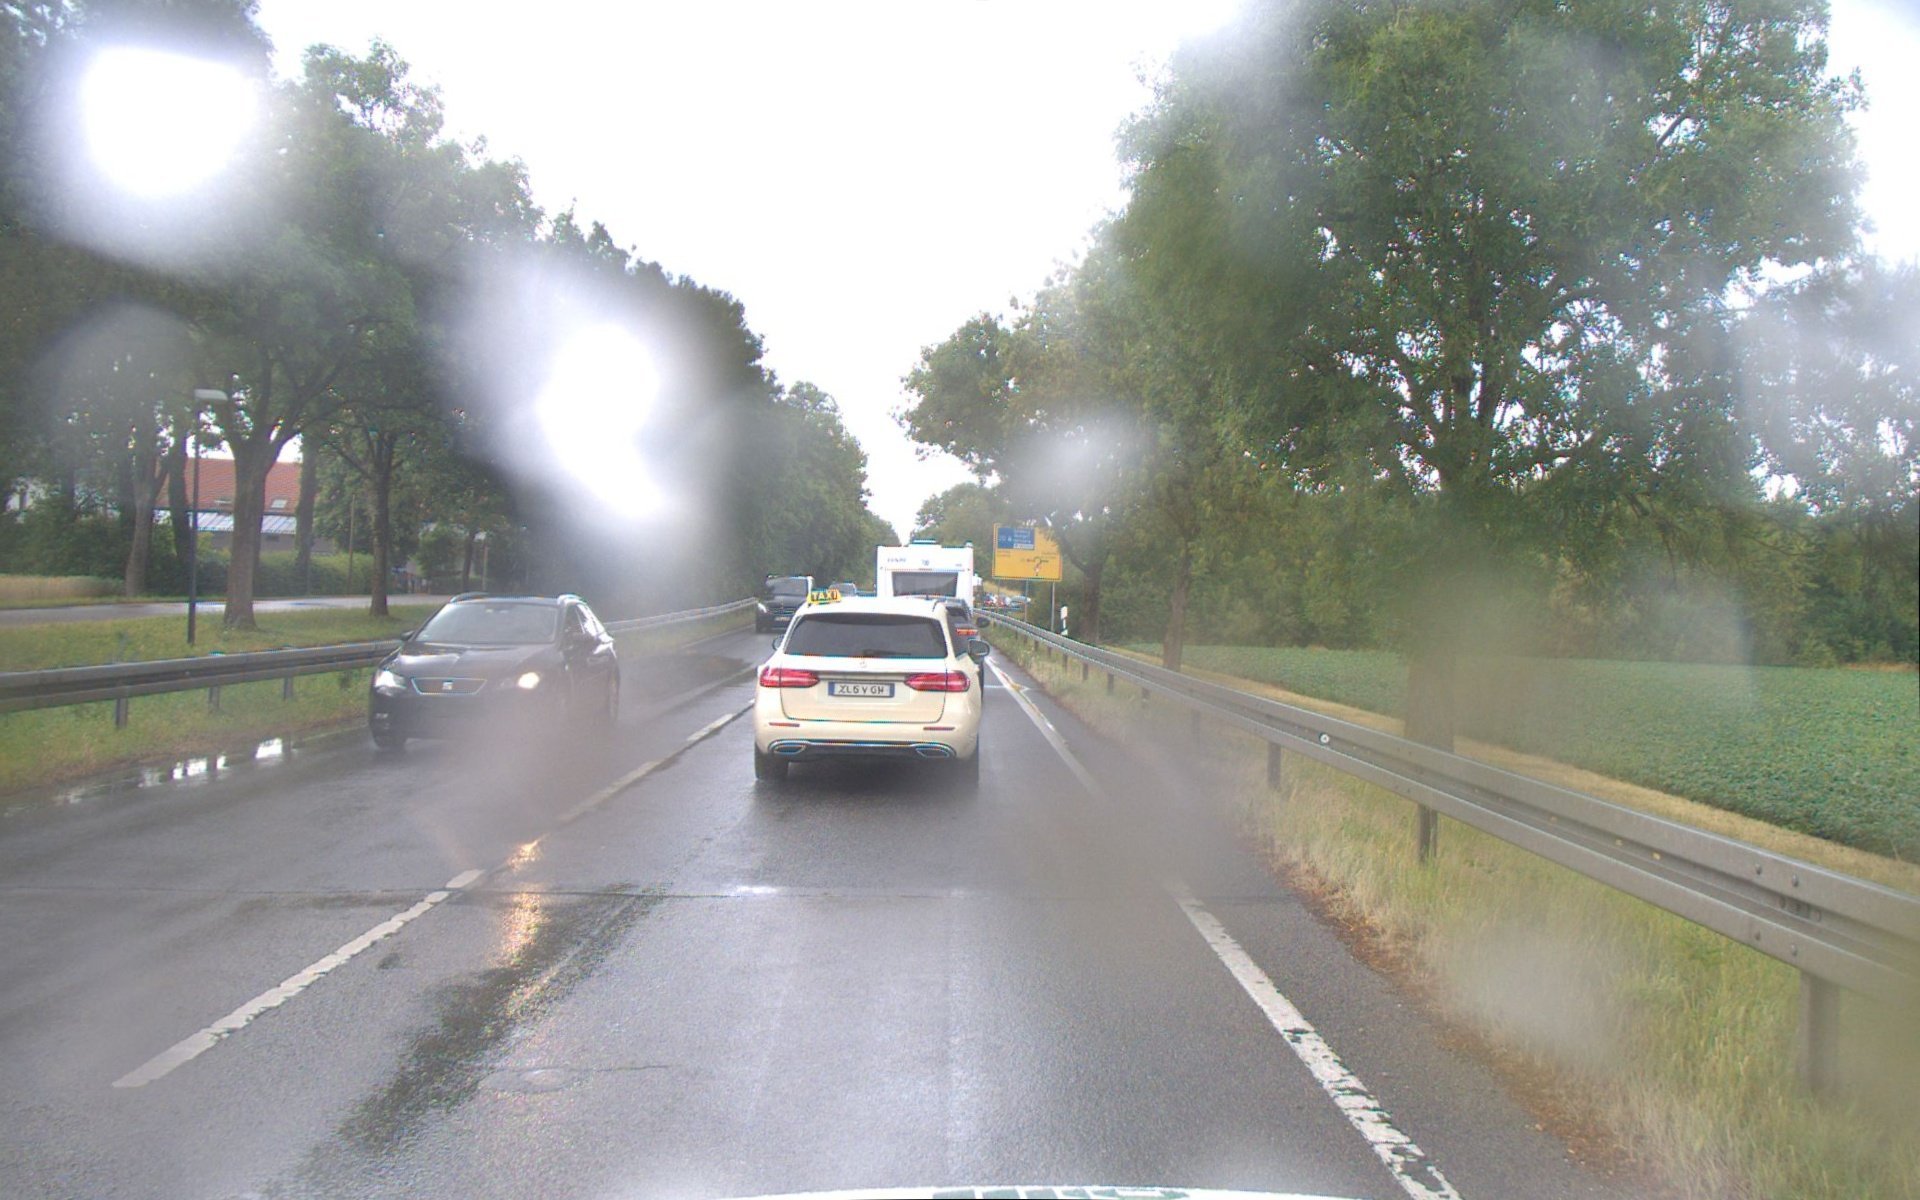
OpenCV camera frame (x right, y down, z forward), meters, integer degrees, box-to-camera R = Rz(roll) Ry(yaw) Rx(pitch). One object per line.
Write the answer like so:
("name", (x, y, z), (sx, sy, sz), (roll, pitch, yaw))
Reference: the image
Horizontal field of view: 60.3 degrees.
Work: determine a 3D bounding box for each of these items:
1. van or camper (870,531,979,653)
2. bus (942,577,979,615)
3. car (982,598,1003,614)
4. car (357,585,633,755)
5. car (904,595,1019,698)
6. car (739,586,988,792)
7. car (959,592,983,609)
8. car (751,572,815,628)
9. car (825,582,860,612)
("van or camper", (-0.806, -0.201, 40.578), (2.438, 2.732, 5.700), (1, 0, 0))
("bus", (0.008, -0.243, 90.826), (1.953, 2.049, 3.999), (0, 0, -1))
("car", (2.430, 0.427, 123.999), (1.520, 1.138, 4.000), (1, 0, 0))
("car", (-4.496, 0.605, 16.607), (1.679, 1.476, 4.110), (1, 0, -1))
("car", (0.032, 0.660, 25.682), (1.630, 1.456, 4.000), (1, 0, 0))
("car", (-0.707, 0.650, 14.224), (1.826, 1.502, 4.000), (1, 0, 0))
("car", (0.759, 0.021, 114.641), (1.520, 1.138, 3.999), (1, 0, -1))
("car", (-6.046, -0.007, 56.944), (1.791, 1.834, 4.413), (1, 0, -1))
("car", (-5.986, -0.152, 84.607), (1.595, 1.463, 3.959), (1, 0, -1))
